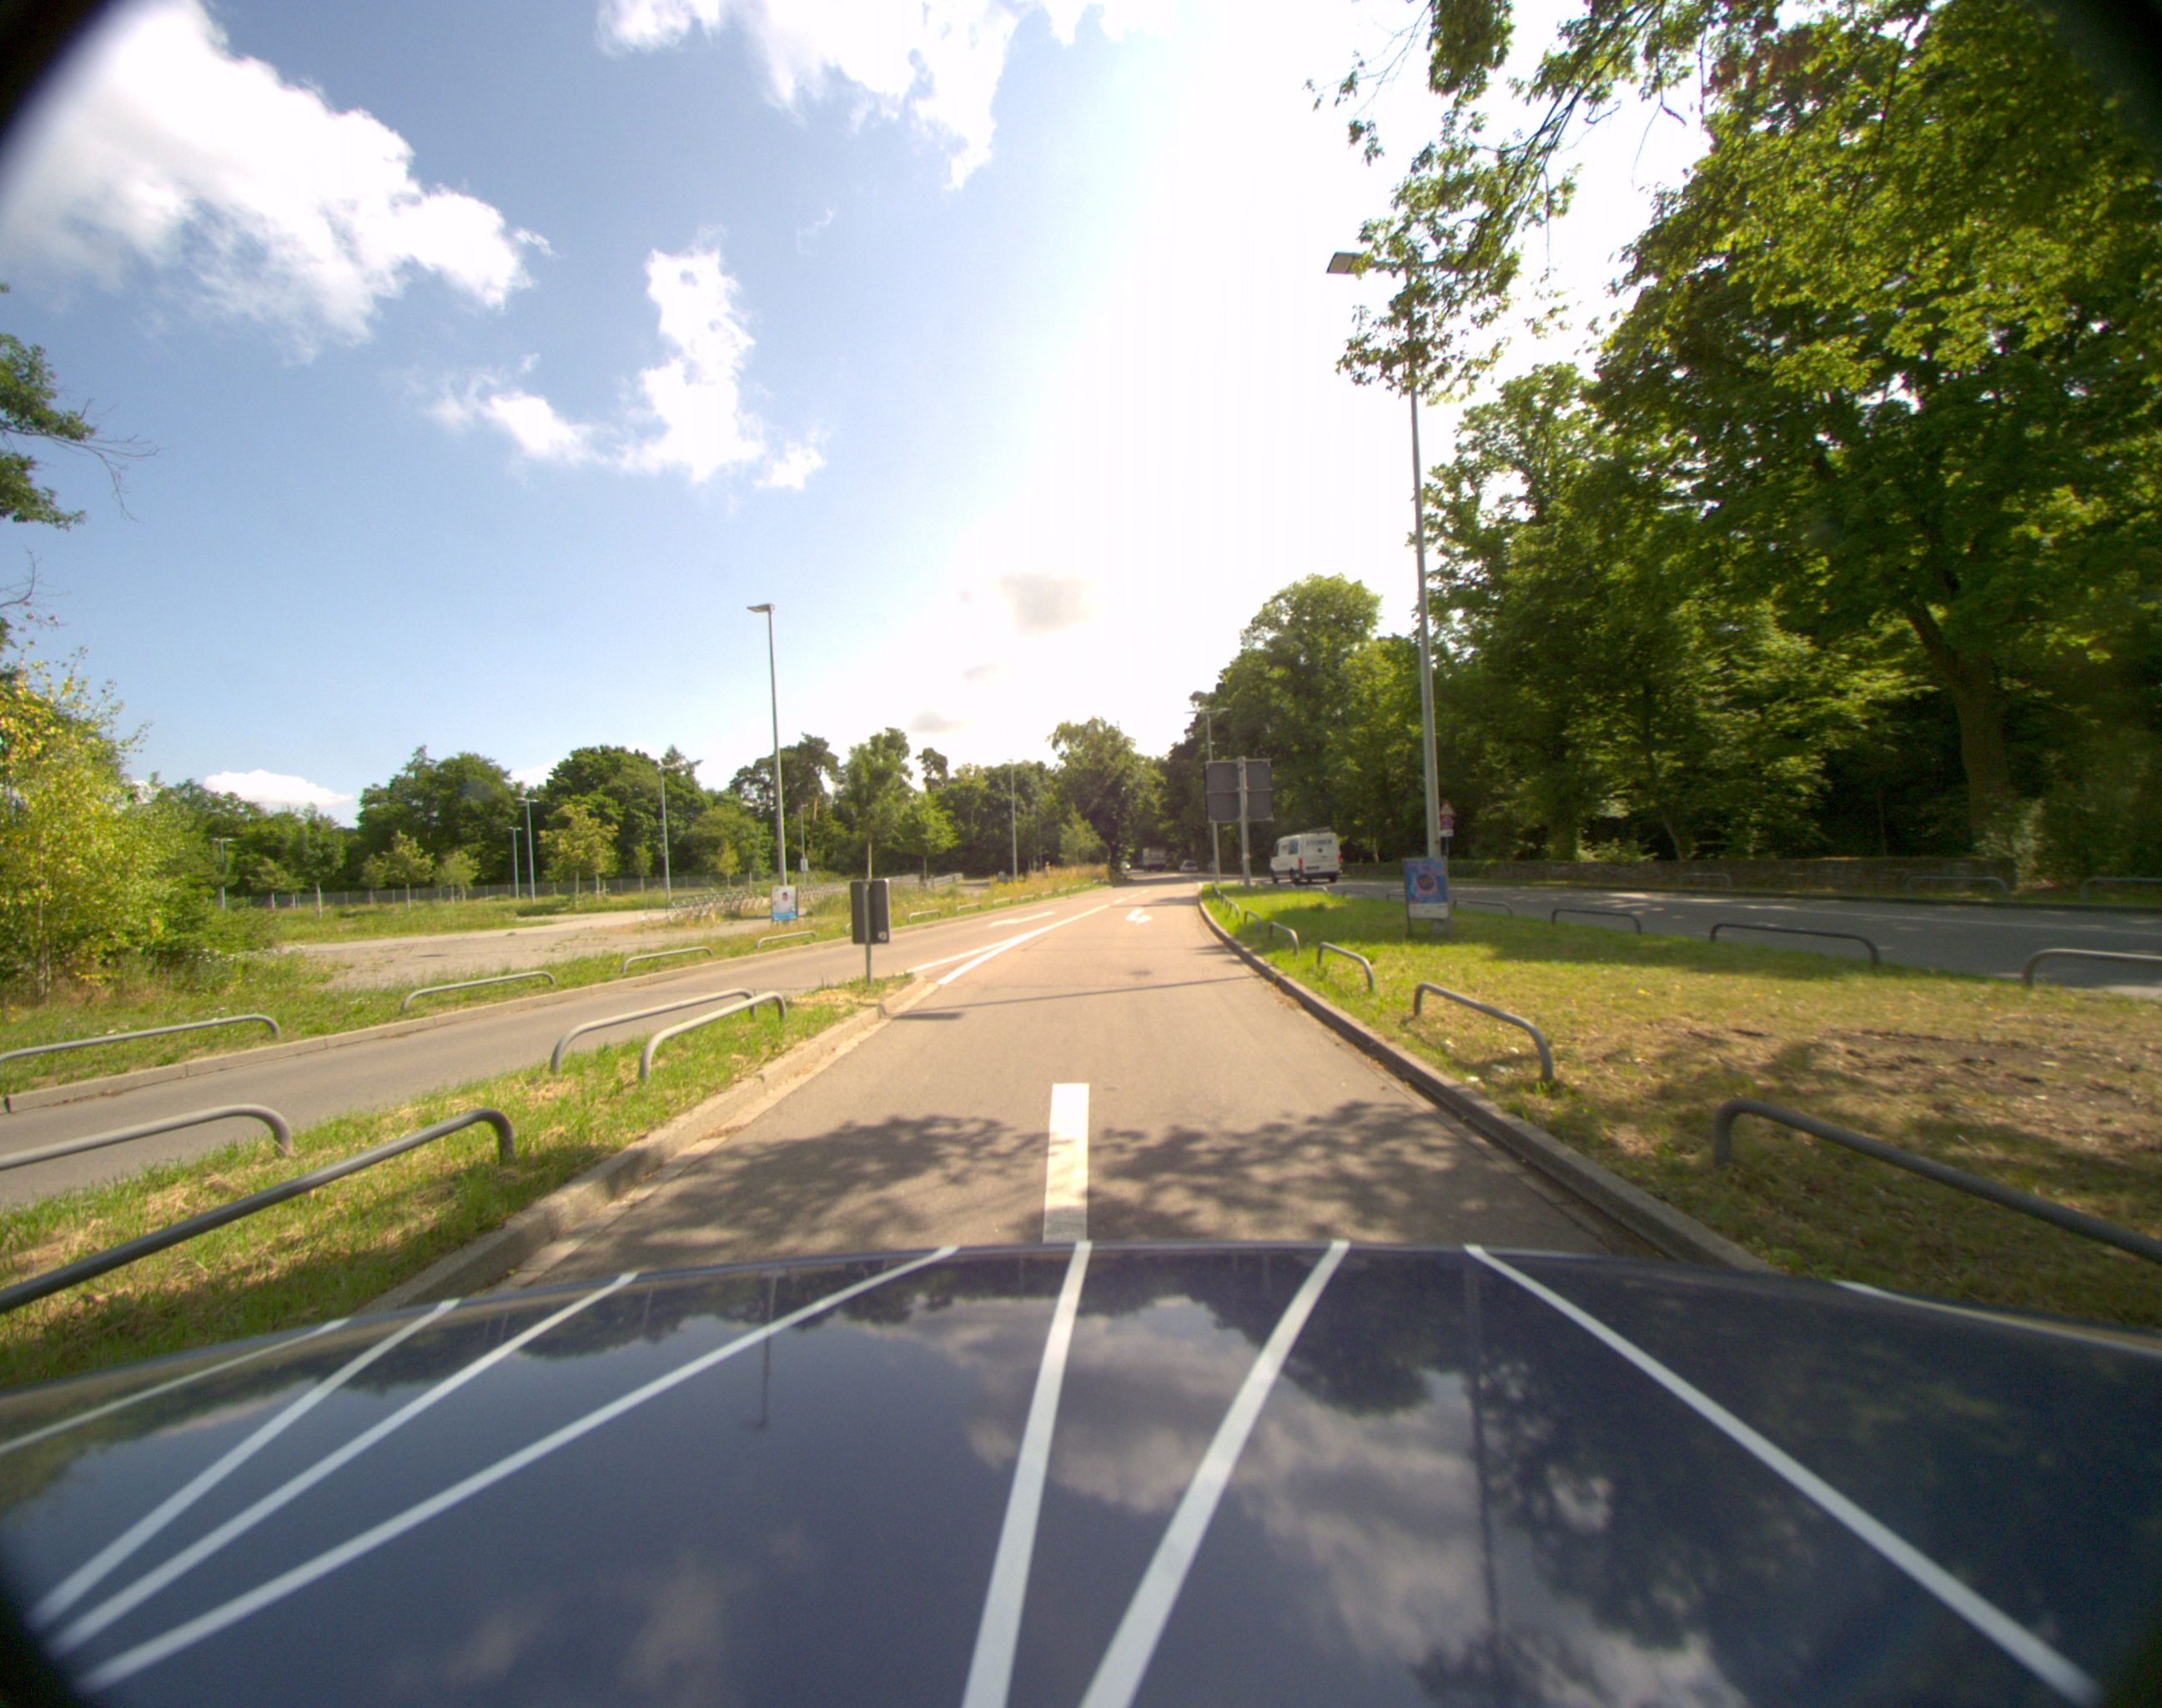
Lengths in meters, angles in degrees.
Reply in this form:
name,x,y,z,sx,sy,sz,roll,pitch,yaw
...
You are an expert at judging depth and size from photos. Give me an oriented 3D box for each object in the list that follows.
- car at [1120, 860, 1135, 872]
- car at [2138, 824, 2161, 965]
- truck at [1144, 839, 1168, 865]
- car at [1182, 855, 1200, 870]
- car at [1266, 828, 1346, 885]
name,x,y,z,sx,sy,sz,roll,pitch,yaw
car,7.666,1.948,125.640,1.980,1.754,4.707,-3,1,0
car,11.855,0.386,5.869,1.699,1.438,4.066,-4,1,1
truck,11.146,-0.312,113.242,2.914,3.609,7.004,-2,1,1
car,12.580,0.948,86.846,1.655,1.461,3.871,-2,1,3
car,10.786,0.089,36.892,1.980,2.417,5.361,-4,1,-2
